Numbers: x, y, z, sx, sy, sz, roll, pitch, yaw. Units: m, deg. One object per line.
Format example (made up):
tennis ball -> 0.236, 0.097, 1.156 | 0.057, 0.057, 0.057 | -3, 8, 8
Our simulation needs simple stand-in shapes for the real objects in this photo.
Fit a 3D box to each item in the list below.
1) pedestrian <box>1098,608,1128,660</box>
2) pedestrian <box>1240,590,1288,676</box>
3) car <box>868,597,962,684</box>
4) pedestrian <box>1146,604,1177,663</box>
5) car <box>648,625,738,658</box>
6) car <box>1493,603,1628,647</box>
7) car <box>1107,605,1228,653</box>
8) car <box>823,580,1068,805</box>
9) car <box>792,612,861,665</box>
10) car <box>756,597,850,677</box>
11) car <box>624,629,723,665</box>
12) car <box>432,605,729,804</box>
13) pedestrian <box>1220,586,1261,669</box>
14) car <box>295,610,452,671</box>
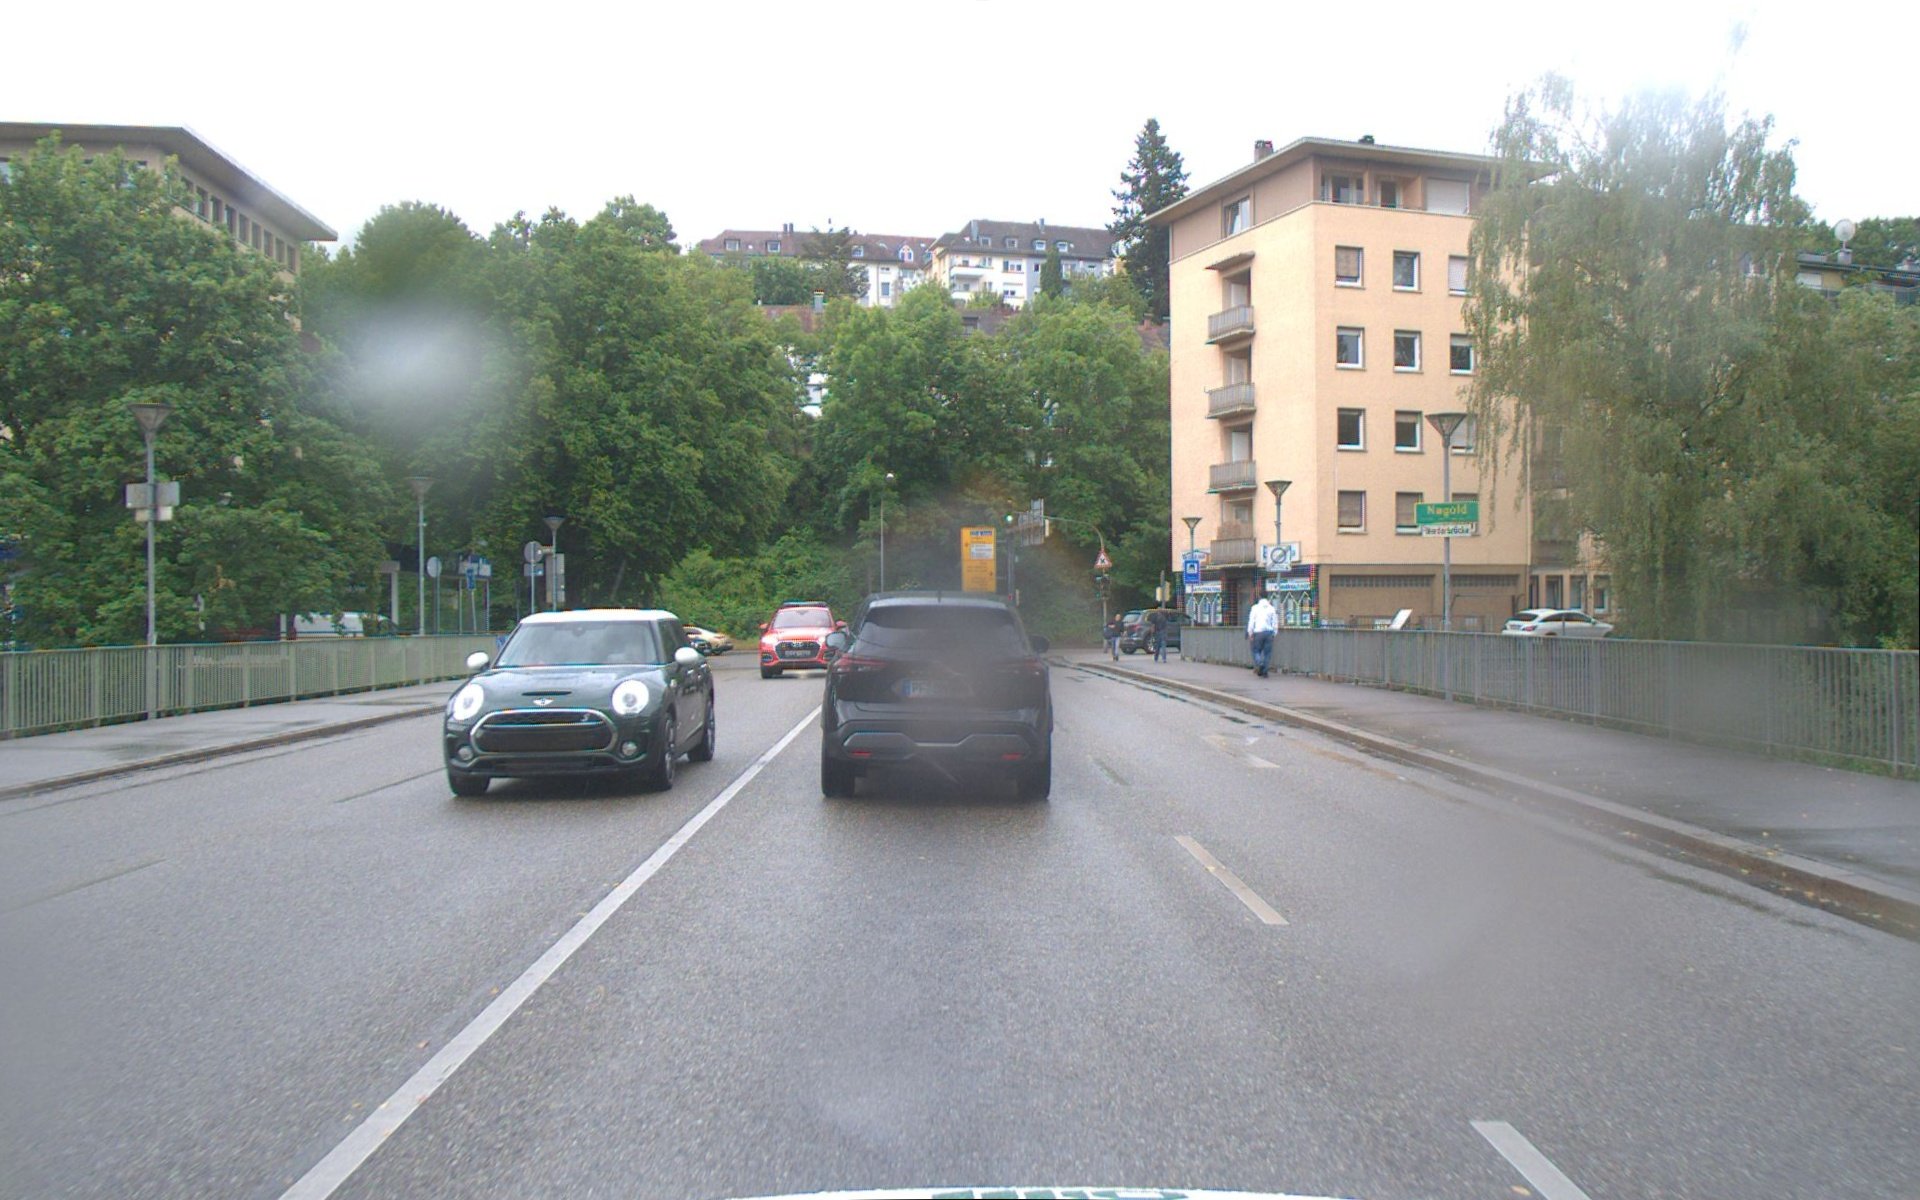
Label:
pedestrian -> 4.967, 1.086, 53.747 | 0.845, 1.647, 0.839 | -2, -1, -1
pedestrian -> 6.395, 0.690, 34.877 | 0.764, 1.783, 1.060 | -1, -1, -2
car -> -0.886, 0.770, 33.515 | 1.774, 1.631, 3.999 | 1, 0, -1
pedestrian -> 6.063, 0.999, 49.844 | 0.745, 1.706, 0.781 | -3, 0, -1
car -> -13.087, 2.055, 81.245 | 3.993, 1.441, 1.716 | -2, -1, 10
car -> 21.444, 0.877, 59.067 | 4.370, 1.400, 1.808 | -1, 2, -18
car -> 7.983, 1.126, 63.606 | 4.315, 1.678, 1.867 | -2, -1, -27
car -> -0.140, 0.701, 14.077 | 1.774, 1.631, 3.999 | 0, -1, -1
car -> -3.976, 1.130, 49.935 | 1.745, 1.427, 4.218 | -2, 0, -1
car -> -3.724, 0.855, 39.866 | 1.850, 1.765, 4.370 | -2, 0, -1
car -> -12.753, 2.087, 73.745 | 3.993, 1.441, 1.716 | -2, -1, 10
car -> -3.159, 0.803, 14.564 | 1.710, 1.464, 3.999 | -1, 0, -1
pedestrian -> 6.342, 0.618, 37.396 | 0.745, 1.840, 0.781 | -2, -1, -1
car -> -19.554, 1.337, 55.324 | 4.655, 1.886, 1.996 | 0, 1, -10
